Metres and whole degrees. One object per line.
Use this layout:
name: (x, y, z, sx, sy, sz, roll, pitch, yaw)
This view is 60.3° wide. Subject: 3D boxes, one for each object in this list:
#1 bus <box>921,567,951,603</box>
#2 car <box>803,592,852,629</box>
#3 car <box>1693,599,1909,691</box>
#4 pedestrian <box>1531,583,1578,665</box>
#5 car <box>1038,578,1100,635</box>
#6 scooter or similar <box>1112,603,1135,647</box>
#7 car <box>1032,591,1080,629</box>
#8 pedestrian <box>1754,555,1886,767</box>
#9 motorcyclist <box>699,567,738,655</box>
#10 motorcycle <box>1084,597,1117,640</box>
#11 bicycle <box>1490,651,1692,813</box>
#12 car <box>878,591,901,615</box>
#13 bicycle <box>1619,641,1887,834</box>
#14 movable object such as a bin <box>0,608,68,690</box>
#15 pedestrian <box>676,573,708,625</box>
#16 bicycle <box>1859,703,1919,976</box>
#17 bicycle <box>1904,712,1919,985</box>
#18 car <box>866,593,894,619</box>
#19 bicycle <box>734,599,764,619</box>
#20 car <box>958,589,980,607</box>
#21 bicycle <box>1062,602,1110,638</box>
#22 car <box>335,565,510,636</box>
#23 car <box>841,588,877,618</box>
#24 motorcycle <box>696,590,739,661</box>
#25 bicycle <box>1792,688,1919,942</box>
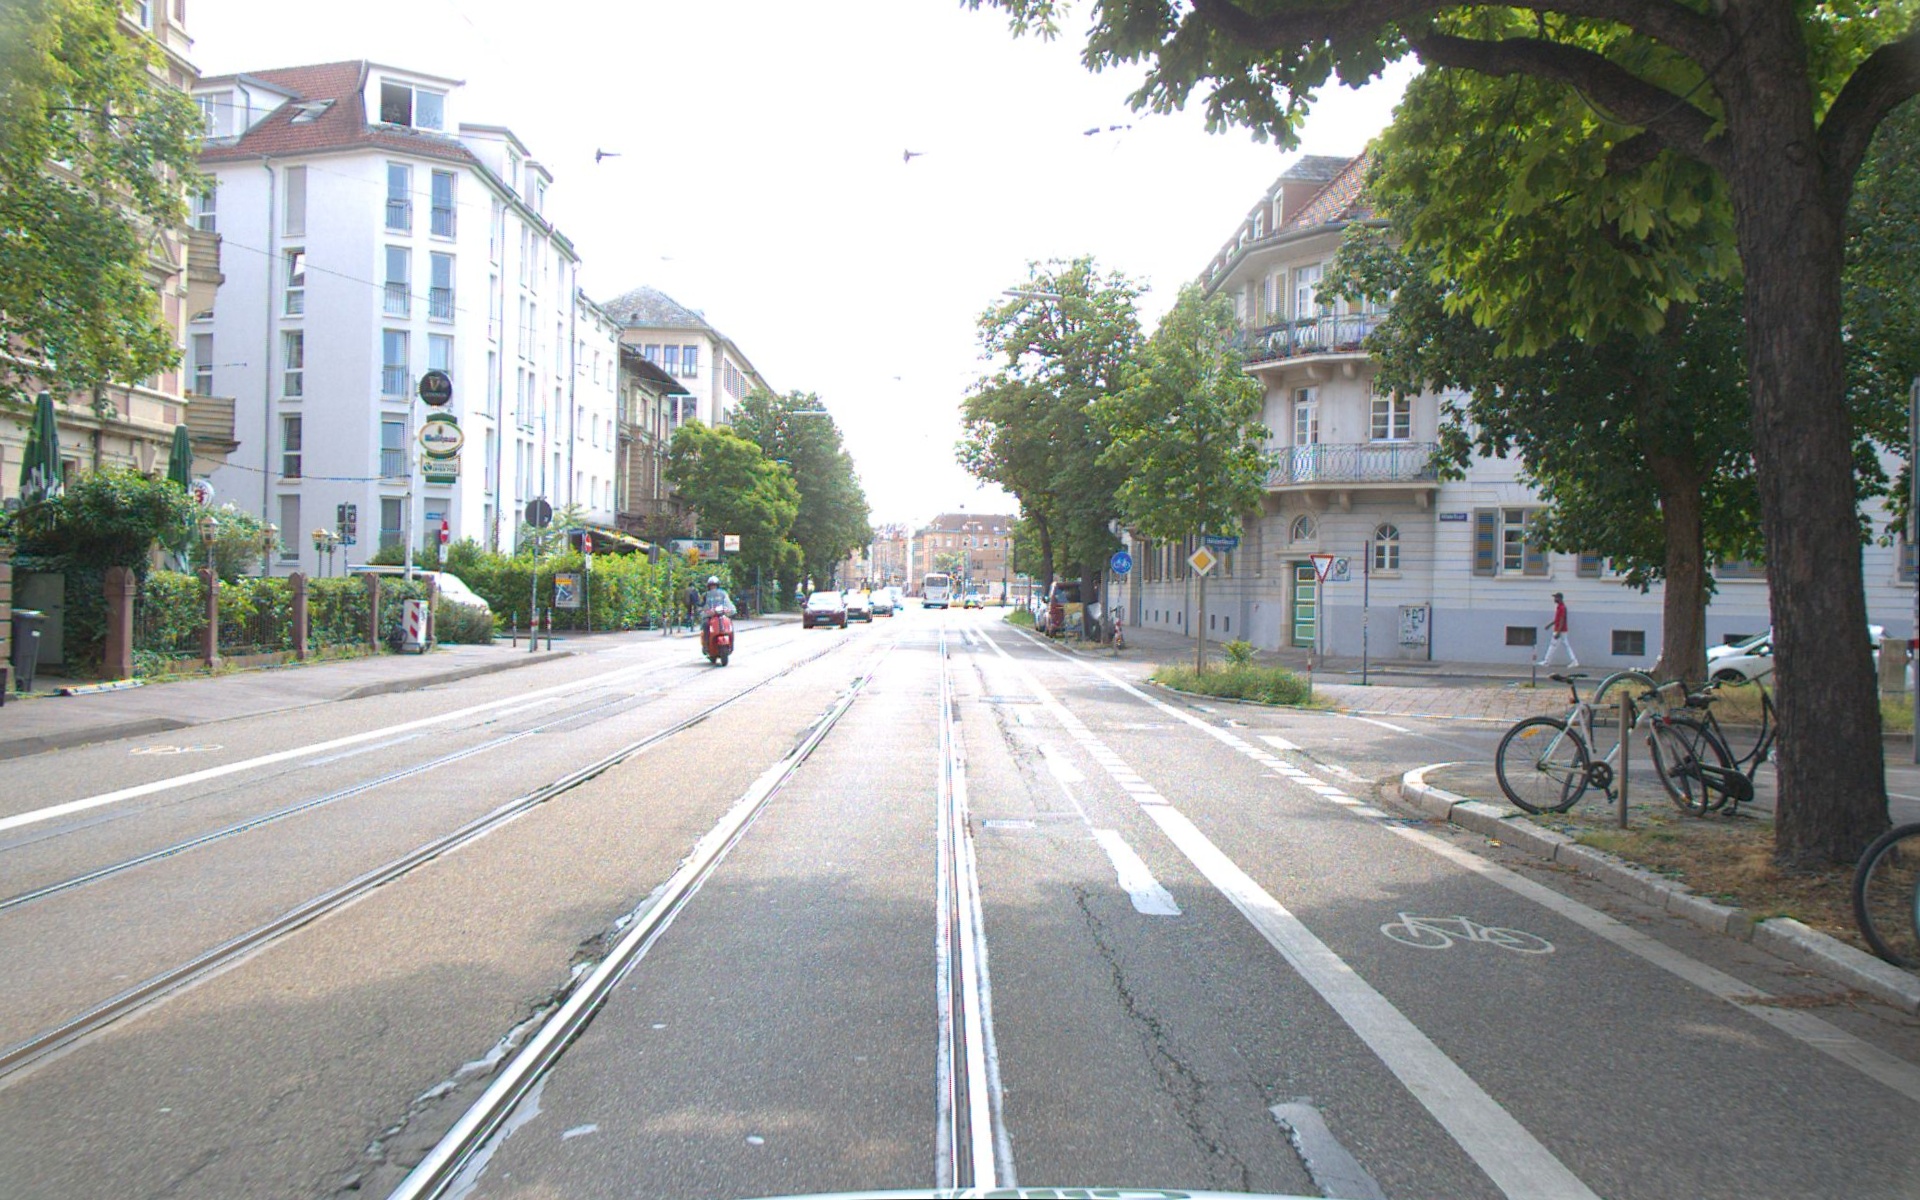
bus: (-2.475, -1.450, 168.151, 2.859, 3.386, 12.202, 2, 0, -1)
car: (-5.355, 0.399, 67.191, 1.561, 1.465, 3.936, 0, 0, 1)
car: (15.855, 0.816, 31.330, 3.537, 1.524, 1.730, 1, 2, 26)
pedestrian: (14.647, 0.580, 40.726, 0.955, 1.971, 0.901, 2, -1, 26)
car: (3.956, 0.230, 60.873, 1.857, 1.975, 4.950, 1, 0, -1)
scooter or similar: (4.794, 0.726, 48.585, 0.521, 1.273, 1.720, 0, 0, 0)
car: (4.001, 0.415, 69.514, 1.672, 1.524, 4.788, 1, 0, -1)
pedestrian: (7.849, 0.539, 15.130, 0.605, 1.866, 1.030, 1, 0, -3)
motorcyclist: (-4.882, 0.218, 33.390, 0.725, 1.744, 0.919, 1, 0, -10)
motorcycle: (4.531, 0.599, 53.607, 0.840, 1.344, 2.445, 1, 0, 0)
bicycle: (4.472, 0.930, 11.762, 1.242, 1.085, 0.478, 1, 0, -2)
car: (-6.010, 0.256, 141.452, 1.859, 1.940, 5.382, 1, 0, -2)
bicycle: (5.518, 0.916, 11.639, 0.576, 1.178, 1.826, 1, 0, -19)
movable object such as a bin: (-11.001, 0.569, 19.533, 0.567, 0.941, 0.641, 1, 0, -1)
pedestrian: (-10.218, -0.041, 63.088, 1.038, 1.951, 0.829, 1, 0, 0)
bicycle: (4.669, 1.006, 6.897, 1.612, 1.089, 0.348, 1, 0, 3)
bicycle: (4.663, 1.017, 6.548, 1.612, 1.089, 0.348, 1, 0, 2)
car: (-5.032, 0.363, 104.953, 1.692, 1.567, 4.275, 0, 0, -2)
bicycle: (-10.836, 0.458, 85.099, 1.119, 0.924, 2.988, 4, 0, -1)
car: (0.922, -0.182, 171.434, 2.087, 1.713, 4.101, 2, 1, -2)
bicycle: (4.366, 0.685, 57.263, 1.578, 1.224, 0.589, 1, 0, -4)
car: (-16.293, -0.003, 50.146, 4.829, 2.049, 2.050, 1, 0, 21)
car: (-5.040, 0.121, 82.818, 1.595, 1.431, 4.128, 1, 0, -1)
motorcycle: (-4.898, 0.503, 33.468, 0.725, 1.384, 2.086, 1, 0, -5)
bicycle: (4.651, 0.967, 7.436, 1.612, 1.089, 0.348, 1, 0, 3)
